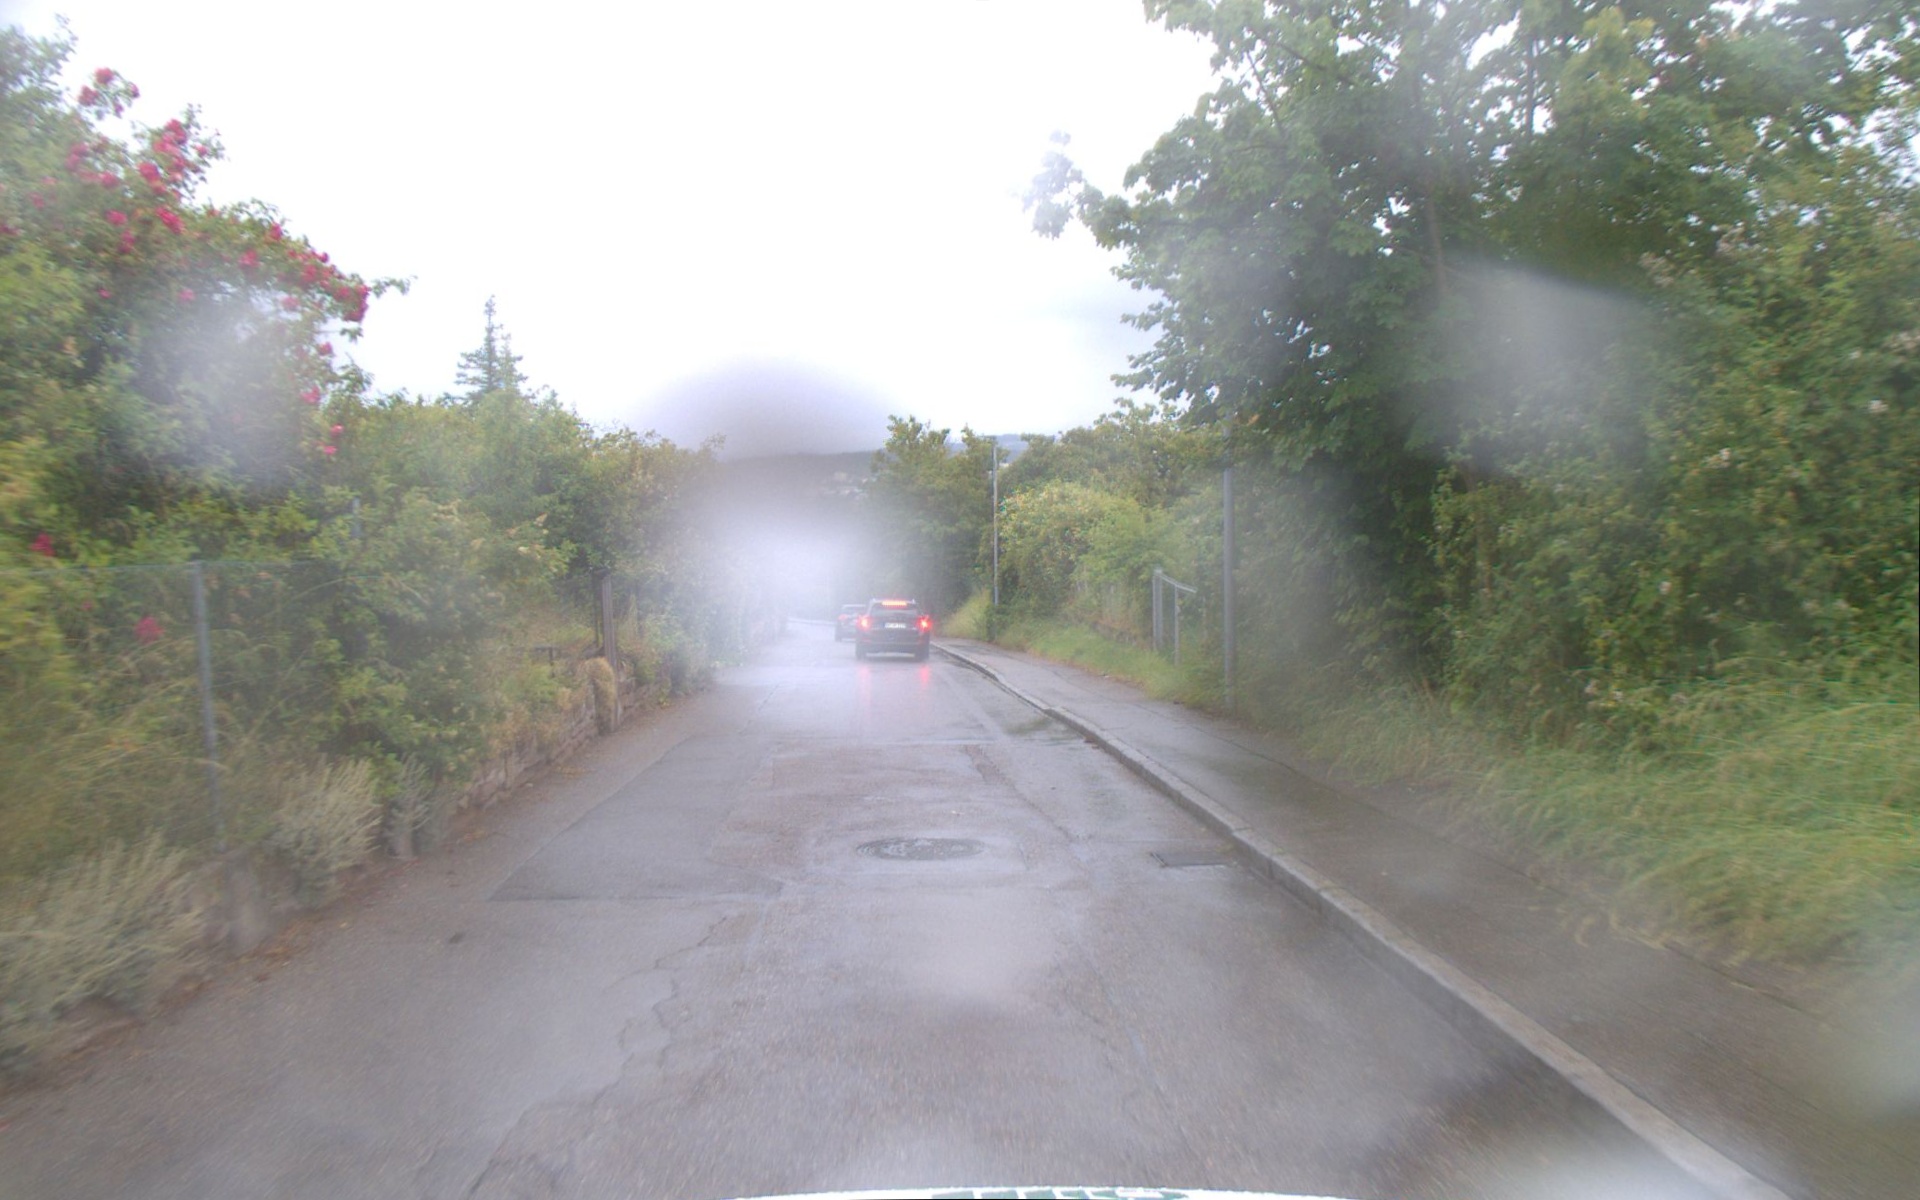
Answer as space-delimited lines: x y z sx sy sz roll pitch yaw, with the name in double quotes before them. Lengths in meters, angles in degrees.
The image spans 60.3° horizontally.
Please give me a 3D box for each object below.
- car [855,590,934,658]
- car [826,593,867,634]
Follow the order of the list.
"car" -1.608 0.536 40.292 1.798 1.489 3.998 -1 1 -3
"car" -4.755 0.540 69.316 1.645 1.592 3.792 0 2 -4
